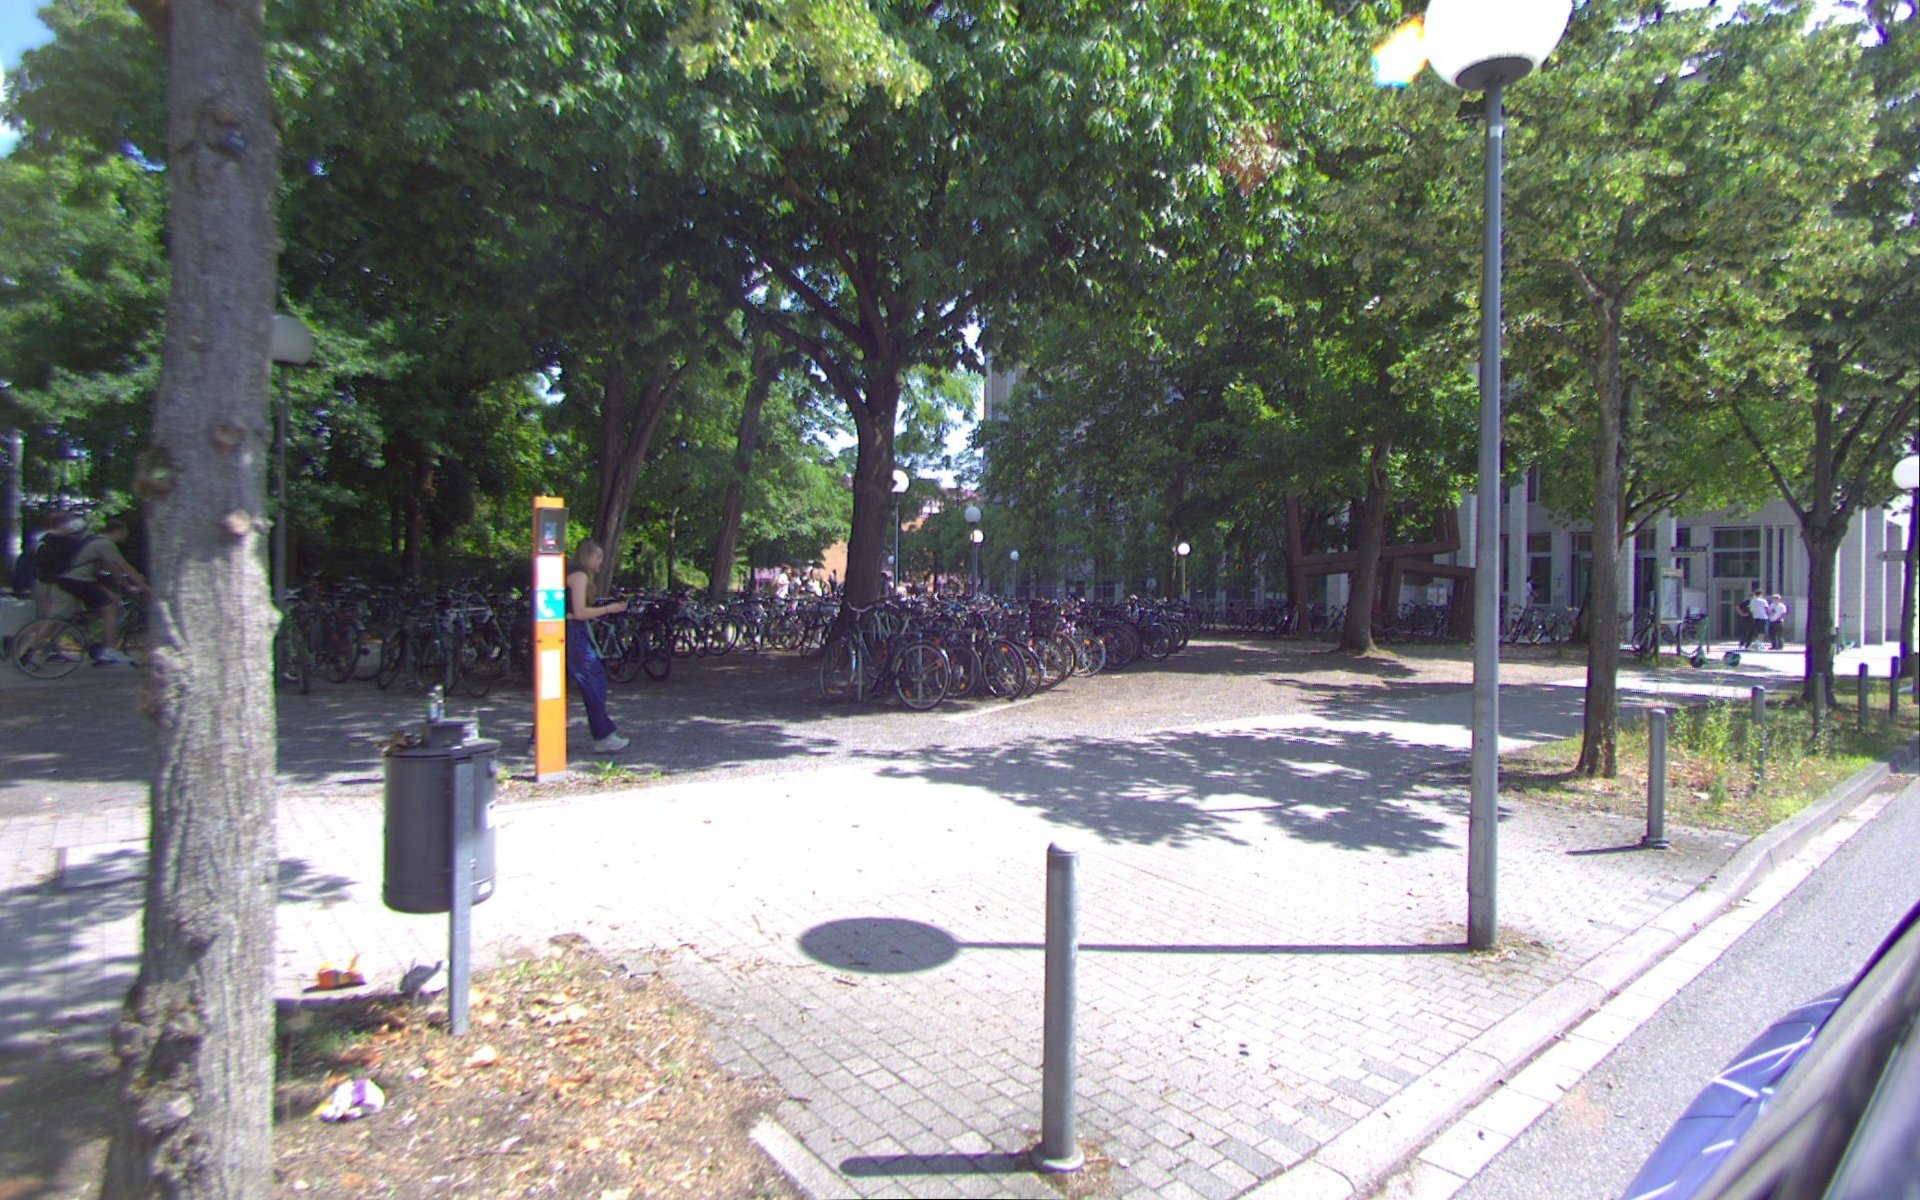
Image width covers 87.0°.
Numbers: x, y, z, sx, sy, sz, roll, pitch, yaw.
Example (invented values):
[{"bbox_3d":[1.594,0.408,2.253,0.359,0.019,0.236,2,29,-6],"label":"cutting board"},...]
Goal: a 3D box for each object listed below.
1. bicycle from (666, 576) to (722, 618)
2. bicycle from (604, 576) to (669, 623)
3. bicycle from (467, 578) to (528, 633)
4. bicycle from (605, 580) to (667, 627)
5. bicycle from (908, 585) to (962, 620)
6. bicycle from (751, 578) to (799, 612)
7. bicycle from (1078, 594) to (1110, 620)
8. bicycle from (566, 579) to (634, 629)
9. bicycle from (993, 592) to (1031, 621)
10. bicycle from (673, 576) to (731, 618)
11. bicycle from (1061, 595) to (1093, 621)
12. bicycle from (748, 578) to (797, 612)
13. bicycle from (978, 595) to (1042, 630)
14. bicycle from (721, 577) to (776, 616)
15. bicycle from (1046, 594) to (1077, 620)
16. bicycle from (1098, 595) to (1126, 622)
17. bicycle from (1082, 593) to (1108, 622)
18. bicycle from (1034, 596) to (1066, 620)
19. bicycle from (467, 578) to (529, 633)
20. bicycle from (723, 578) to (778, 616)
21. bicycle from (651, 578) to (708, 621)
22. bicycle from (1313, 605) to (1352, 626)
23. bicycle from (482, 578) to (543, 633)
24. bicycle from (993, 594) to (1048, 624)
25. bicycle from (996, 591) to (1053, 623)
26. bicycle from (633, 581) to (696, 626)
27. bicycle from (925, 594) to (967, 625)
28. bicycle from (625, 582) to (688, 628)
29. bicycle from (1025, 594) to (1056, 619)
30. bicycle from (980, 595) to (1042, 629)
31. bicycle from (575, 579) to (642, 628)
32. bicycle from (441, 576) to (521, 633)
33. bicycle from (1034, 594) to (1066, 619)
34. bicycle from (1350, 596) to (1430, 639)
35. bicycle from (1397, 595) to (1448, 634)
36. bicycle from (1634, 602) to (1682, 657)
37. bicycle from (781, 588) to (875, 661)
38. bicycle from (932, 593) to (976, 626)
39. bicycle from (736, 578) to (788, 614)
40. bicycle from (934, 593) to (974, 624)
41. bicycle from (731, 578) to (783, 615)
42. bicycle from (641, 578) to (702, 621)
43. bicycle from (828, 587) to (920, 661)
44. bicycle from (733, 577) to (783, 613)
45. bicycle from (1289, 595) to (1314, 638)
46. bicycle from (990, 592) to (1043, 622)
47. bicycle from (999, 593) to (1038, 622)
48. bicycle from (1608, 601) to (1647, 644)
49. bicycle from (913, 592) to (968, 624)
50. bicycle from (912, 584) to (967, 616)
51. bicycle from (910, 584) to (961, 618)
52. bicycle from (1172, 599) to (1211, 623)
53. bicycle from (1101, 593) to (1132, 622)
[{"bbox_3d":[-7.406,-0.094,28.197,1.592,1.107,0.346,2,1,21],"label":"bicycle"},{"bbox_3d":[-8.142,-0.030,25.478,1.592,1.107,0.475,2,1,21],"label":"bicycle"},{"bbox_3d":[-9.873,0.108,21.586,1.598,1.107,0.344,2,1,31],"label":"bicycle"},{"bbox_3d":[-8.029,0.082,25.054,1.592,1.107,0.346,2,1,21],"label":"bicycle"},{"bbox_3d":[-0.771,0.073,30.975,1.571,0.991,0.403,2,1,11],"label":"bicycle"},{"bbox_3d":[-6.230,-0.182,34.103,1.586,1.107,0.347,2,1,13],"label":"bicycle"},{"bbox_3d":[5.763,0.313,43.400,0.477,1.098,1.661,-2,-3,44],"label":"bicycle"},{"bbox_3d":[-8.600,0.083,24.149,1.592,1.107,0.475,2,1,21],"label":"bicycle"},{"bbox_3d":[2.052,0.258,40.037,1.451,1.098,0.451,-1,-2,15],"label":"bicycle"},{"bbox_3d":[-7.287,-0.098,28.532,1.592,1.107,0.475,2,1,21],"label":"bicycle"},{"bbox_3d":[5.122,0.339,44.110,0.477,1.098,1.661,-2,-3,44],"label":"bicycle"},{"bbox_3d":[-6.264,-0.175,33.862,1.586,1.107,0.335,2,1,13],"label":"bicycle"},{"bbox_3d":[1.515,0.371,30.577,1.871,0.991,0.478,2,1,7],"label":"bicycle"},{"bbox_3d":[-6.310,-0.106,30.218,1.588,1.107,0.346,2,1,14],"label":"bicycle"},{"bbox_3d":[4.494,0.304,44.759,0.477,1.098,1.661,-2,-3,44],"label":"bicycle"},{"bbox_3d":[6.434,0.360,42.911,0.475,1.098,1.666,-2,-3,35],"label":"bicycle"},{"bbox_3d":[5.335,0.291,39.871,0.350,1.097,1.452,1,0,36],"label":"bicycle"},{"bbox_3d":[4.122,0.375,46.131,0.527,1.098,1.661,-2,-3,44],"label":"bicycle"},{"bbox_3d":[-9.861,0.110,21.581,1.598,1.107,0.344,2,1,31],"label":"bicycle"},{"bbox_3d":[-6.449,-0.091,31.199,1.586,1.107,0.477,2,1,12],"label":"bicycle"},{"bbox_3d":[-7.621,-0.019,27.483,1.592,1.107,0.346,2,1,21],"label":"bicycle"},{"bbox_3d":[16.205,0.677,43.970,1.739,0.911,0.449,1,-1,-22],"label":"bicycle"},{"bbox_3d":[-9.686,0.107,21.892,1.598,1.107,0.344,2,1,31],"label":"bicycle"},{"bbox_3d":[2.092,0.309,35.096,1.868,0.991,0.479,2,1,0],"label":"bicycle"},{"bbox_3d":[2.172,0.233,34.157,1.870,0.991,0.478,2,1,5],"label":"bicycle"},{"bbox_3d":[-7.714,0.076,26.424,1.592,1.107,0.475,2,1,21],"label":"bicycle"},{"bbox_3d":[-0.494,0.330,35.746,1.442,1.098,0.353,0,-2,-7],"label":"bicycle"},{"bbox_3d":[-7.826,0.120,26.091,1.592,1.107,0.475,2,1,21],"label":"bicycle"},{"bbox_3d":[3.705,0.312,46.506,0.527,1.098,1.661,-2,-3,44],"label":"bicycle"},{"bbox_3d":[1.560,0.363,30.953,1.871,0.991,0.478,2,1,7],"label":"bicycle"},{"bbox_3d":[-8.524,0.073,24.522,1.592,1.107,0.475,2,1,21],"label":"bicycle"},{"bbox_3d":[-9.869,0.078,20.850,1.734,1.107,0.475,2,1,24],"label":"bicycle"},{"bbox_3d":[4.023,0.303,45.199,0.527,1.098,1.661,-2,-3,44],"label":"bicycle"},{"bbox_3d":[11.616,0.461,27.377,1.895,1.123,0.630,1,1,13],"label":"bicycle"},{"bbox_3d":[13.841,0.435,30.285,1.791,1.091,0.464,3,0,-33],"label":"bicycle"},{"bbox_3d":[15.525,0.642,22.541,0.622,1.097,1.674,-1,2,26],"label":"bicycle"},{"bbox_3d":[-2.100,0.362,16.313,0.474,1.096,1.885,2,1,28],"label":"bicycle"},{"bbox_3d":[-0.209,0.334,34.442,1.442,1.098,0.353,0,-2,-6],"label":"bicycle"},{"bbox_3d":[-6.330,-0.129,32.368,1.586,1.107,0.347,2,1,13],"label":"bicycle"},{"bbox_3d":[-0.224,0.321,36.383,1.444,1.098,0.352,0,-2,0],"label":"bicycle"},{"bbox_3d":[-6.427,-0.121,31.996,1.586,1.107,0.347,2,1,13],"label":"bicycle"},{"bbox_3d":[-7.735,-0.025,27.151,1.592,1.107,0.475,2,1,21],"label":"bicycle"},{"bbox_3d":[-1.326,0.342,16.027,0.474,1.096,1.885,2,1,28],"label":"bicycle"},{"bbox_3d":[-6.605,-0.173,33.070,1.586,1.107,0.347,2,1,13],"label":"bicycle"},{"bbox_3d":[9.632,0.452,28.551,0.468,1.123,1.664,1,1,12],"label":"bicycle"},{"bbox_3d":[2.047,0.249,36.561,1.868,0.991,0.479,2,1,0],"label":"bicycle"},{"bbox_3d":[2.244,0.281,38.897,1.442,1.098,0.479,0,-2,-8],"label":"bicycle"},{"bbox_3d":[18.833,0.645,28.554,1.464,1.155,0.560,3,1,-44],"label":"bicycle"},{"bbox_3d":[-0.649,0.250,33.592,1.769,0.991,0.378,2,1,3],"label":"bicycle"},{"bbox_3d":[-0.670,-0.003,33.210,1.769,0.991,0.378,2,1,3],"label":"bicycle"},{"bbox_3d":[-0.779,0.028,32.094,1.571,0.991,0.403,2,1,11],"label":"bicycle"},{"bbox_3d":[11.157,0.531,48.886,0.561,1.117,1.830,3,-1,-42],"label":"bicycle"},{"bbox_3d":[6.086,0.299,39.326,1.448,1.097,0.352,1,0,-45],"label":"bicycle"}]
